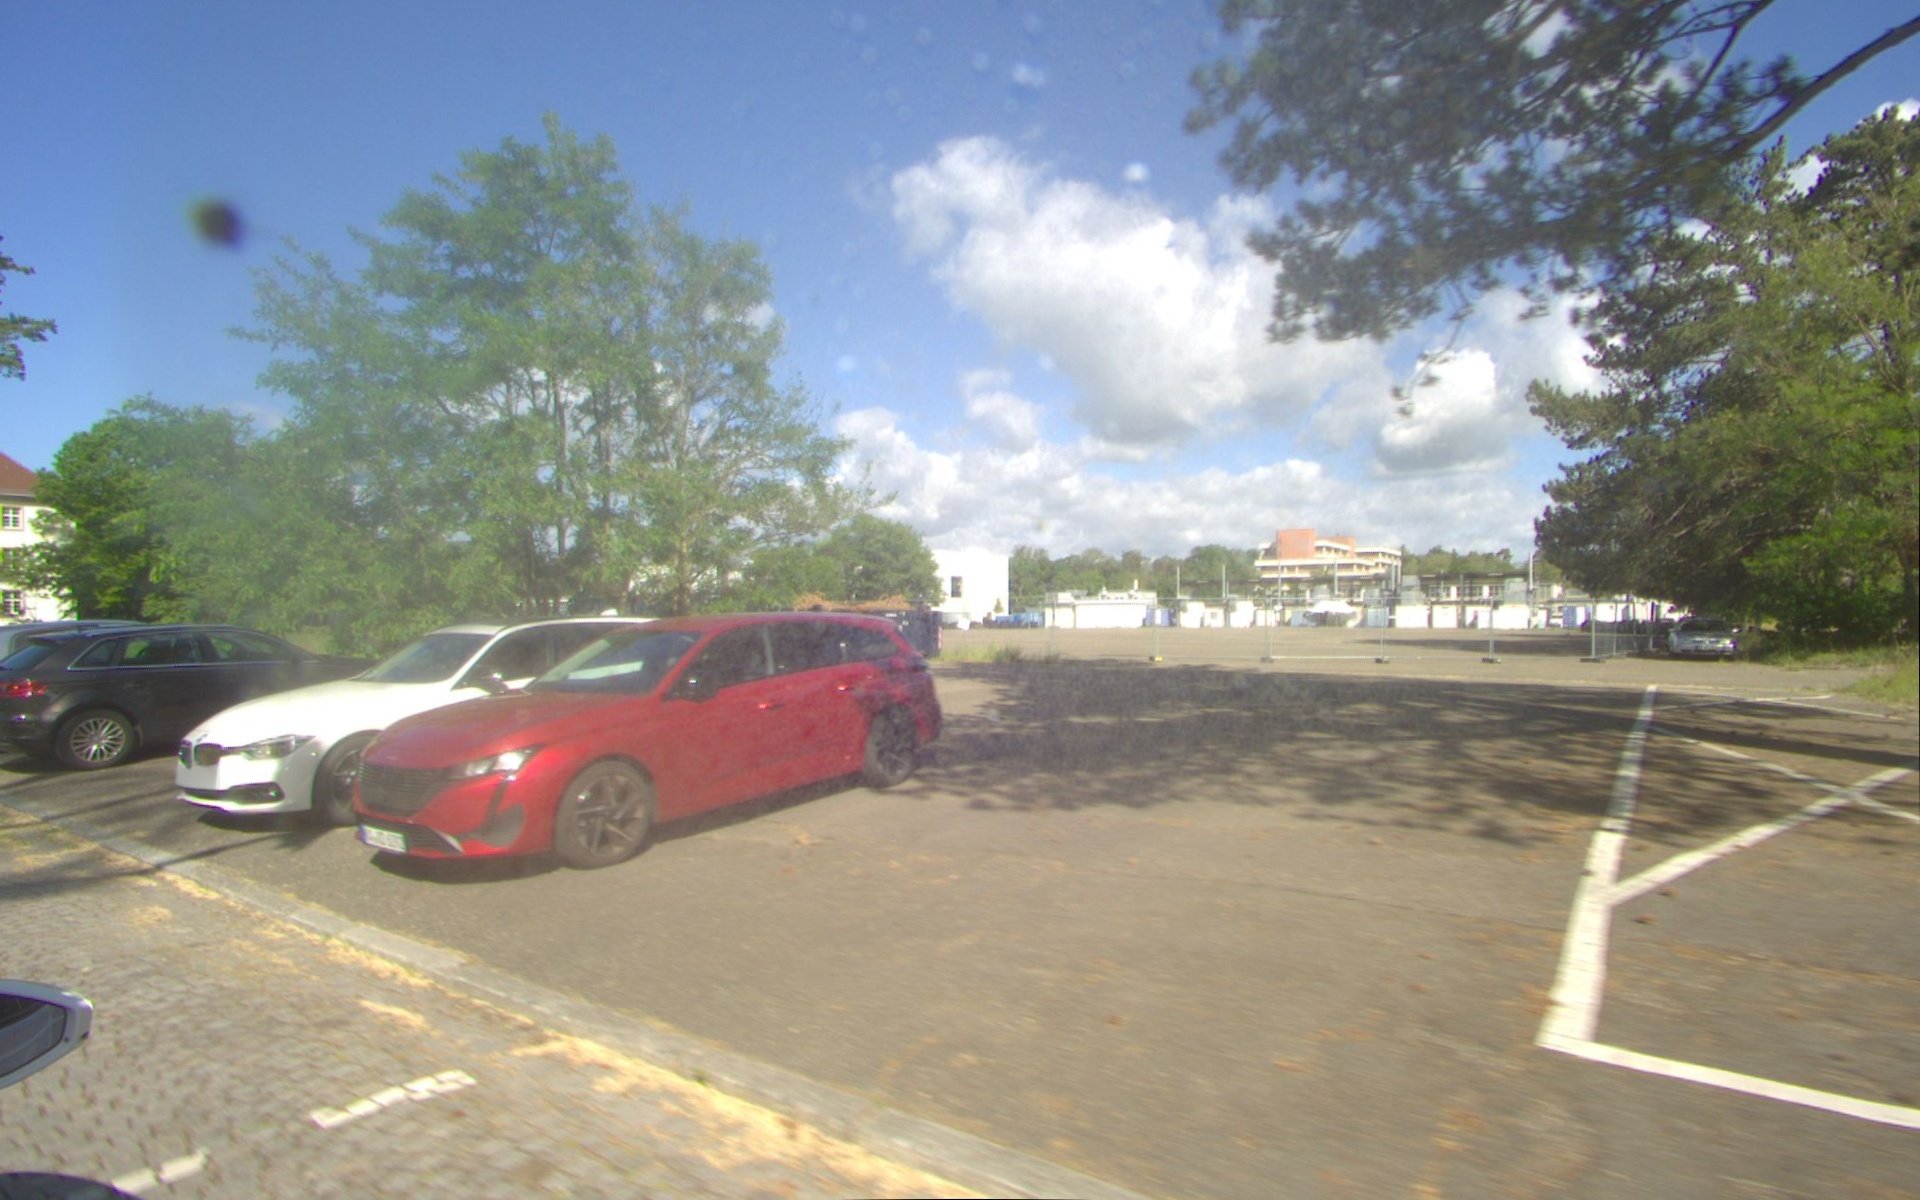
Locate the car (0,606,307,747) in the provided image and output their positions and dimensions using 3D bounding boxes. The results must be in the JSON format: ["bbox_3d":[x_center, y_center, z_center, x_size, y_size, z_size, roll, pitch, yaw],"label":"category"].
[{"bbox_3d":[-11.072,0.914,13.189,1.728,1.496,3.729,-1,2,34],"label":"car"}]

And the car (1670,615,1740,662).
[{"bbox_3d":[24.965,1.243,33.636,1.722,1.441,3.976,1,0,35],"label":"car"}]

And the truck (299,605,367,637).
[{"bbox_3d":[-50.982,1.733,81.404,6.794,2.454,2.228,-1,-2,35],"label":"truck"}]

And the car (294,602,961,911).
[{"bbox_3d":[-2.047,0.820,7.515,1.869,1.440,4.522,-1,1,34],"label":"car"}]

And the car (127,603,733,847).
[{"bbox_3d":[-4.360,0.858,9.051,1.813,1.484,4.501,-1,1,33],"label":"car"}]

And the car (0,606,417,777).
[{"bbox_3d":[-8.836,0.887,11.661,1.818,1.461,3.992,0,2,34],"label":"car"}]

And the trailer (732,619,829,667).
[{"bbox_3d":[-4.377,1.038,24.678,1.021,1.119,2.395,0,-2,32],"label":"trailer"}]
